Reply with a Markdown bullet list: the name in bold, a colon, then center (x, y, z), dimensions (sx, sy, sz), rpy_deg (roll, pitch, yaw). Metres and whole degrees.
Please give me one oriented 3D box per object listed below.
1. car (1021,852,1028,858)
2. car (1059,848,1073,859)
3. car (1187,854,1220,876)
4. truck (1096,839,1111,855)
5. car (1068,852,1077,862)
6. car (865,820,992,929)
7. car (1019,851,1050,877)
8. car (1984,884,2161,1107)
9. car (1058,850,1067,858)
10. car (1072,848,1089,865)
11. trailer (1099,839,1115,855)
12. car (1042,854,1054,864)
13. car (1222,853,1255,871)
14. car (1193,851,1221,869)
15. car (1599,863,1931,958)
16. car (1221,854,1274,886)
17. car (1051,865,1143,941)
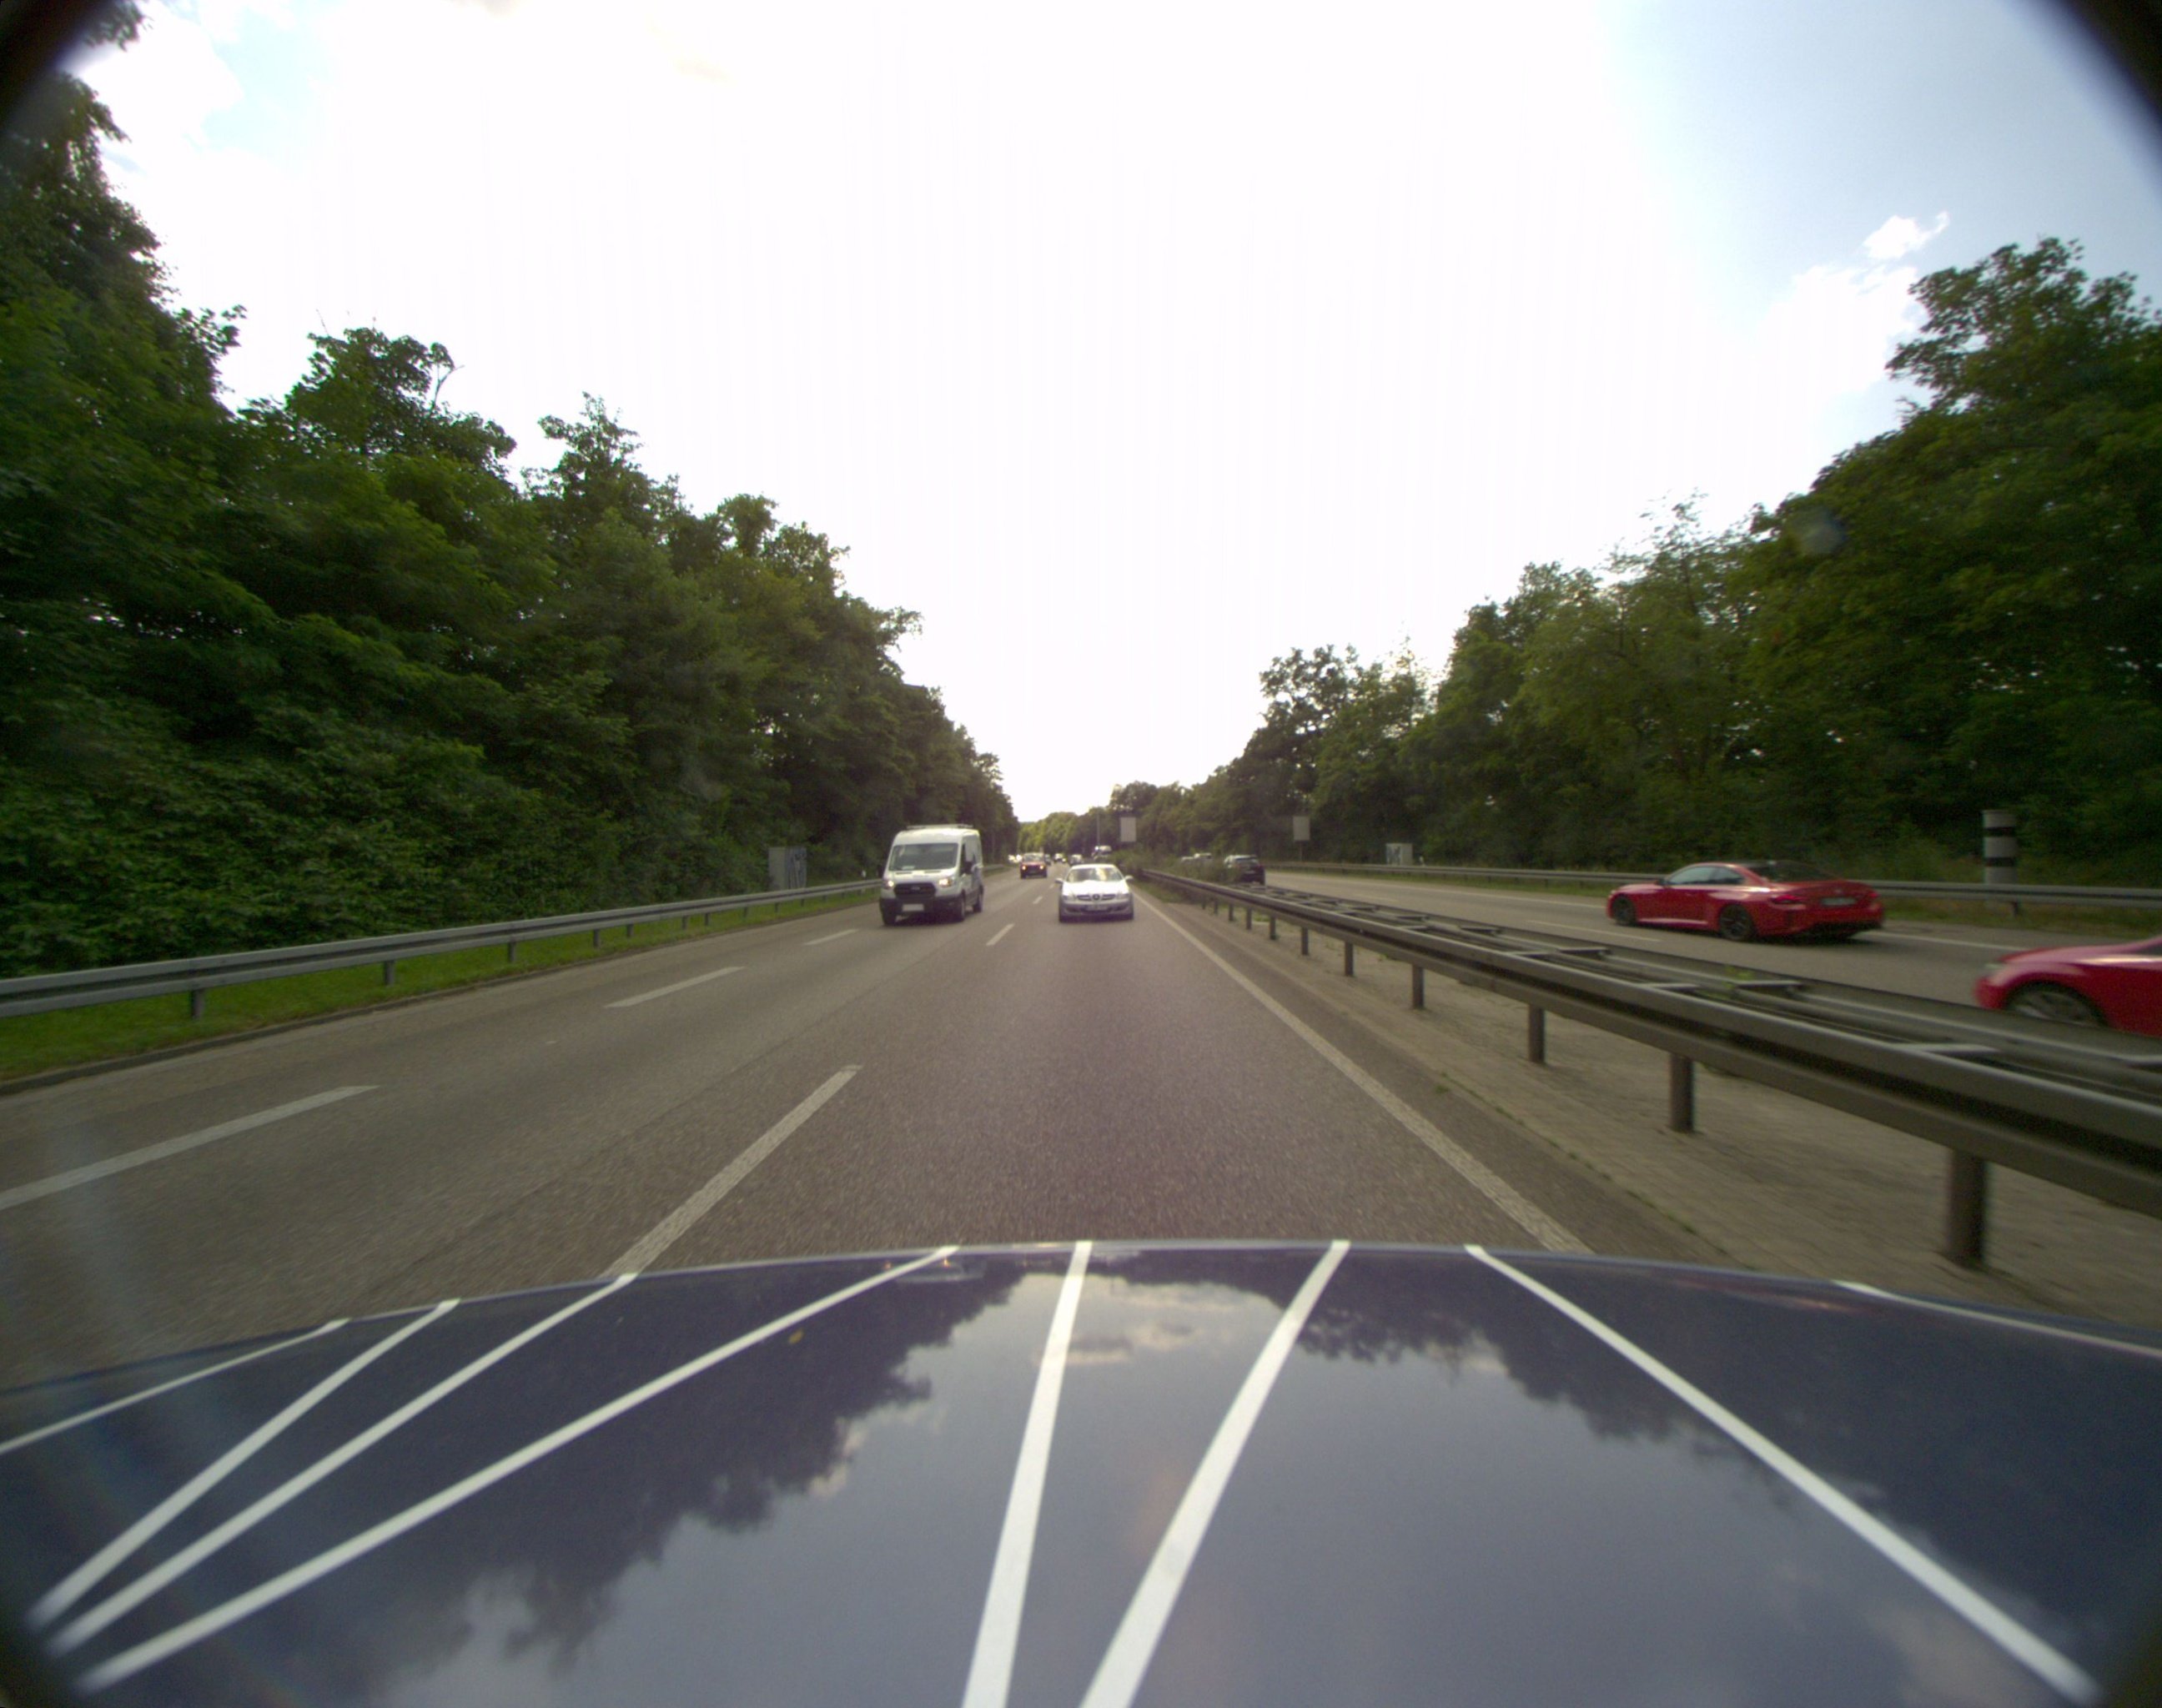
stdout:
- **car**: center (-16.605, 0.264, 222.528), dimensions (1.786, 1.513, 3.999), rpy_deg (-1, 0, -2)
- **car**: center (-2.823, -0.128, 140.380), dimensions (2.000, 2.002, 3.997), rpy_deg (-1, 0, -8)
- **car**: center (9.345, 0.797, 58.272), dimensions (1.826, 1.578, 4.138), rpy_deg (-1, 0, 0)
- **truck**: center (5.552, -1.751, 188.613), dimensions (2.963, 3.833, 10.320), rpy_deg (0, 0, -3)
- **car**: center (-1.427, 0.459, 125.118), dimensions (1.473, 1.560, 3.293), rpy_deg (-1, 0, -2)
- **car**: center (-3.922, 0.472, 20.652), dimensions (2.104, 2.493, 5.279), rpy_deg (-3, 0, 2)
- **car**: center (-3.476, 0.683, 57.034), dimensions (1.908, 1.795, 4.395), rpy_deg (-3, 0, 1)
- **car**: center (8.260, 0.998, 4.025), dimensions (1.689, 1.468, 4.436), rpy_deg (-1, 0, 0)
- **car**: center (-3.827, -0.072, 155.698), dimensions (1.699, 1.579, 3.999), rpy_deg (-1, 0, 0)
- **car**: center (-0.023, 0.314, 97.211), dimensions (1.998, 2.002, 4.000), rpy_deg (-1, 0, 2)
- **trailer**: center (6.019, -1.642, 178.337), dimensions (2.946, 3.811, 10.306), rpy_deg (0, 0, -3)
- **car**: center (-5.206, 0.708, 119.470), dimensions (1.890, 1.516, 3.998), rpy_deg (-1, 0, -3)
- **car**: center (13.554, 0.643, 65.529), dimensions (1.869, 1.447, 4.805), rpy_deg (-1, 0, 0)
- **car**: center (12.162, 0.563, 73.574), dimensions (1.790, 1.728, 4.880), rpy_deg (-1, 0, -1)
- **car**: center (12.236, 0.901, 14.174), dimensions (1.869, 1.370, 4.805), rpy_deg (-1, 0, 0)
- **car**: center (8.881, 0.836, 40.903), dimensions (1.870, 1.580, 4.565), rpy_deg (-1, 0, 0)
- **car**: center (0.359, 1.003, 17.485), dimensions (1.751, 1.295, 5.223), rpy_deg (-3, 0, 1)
